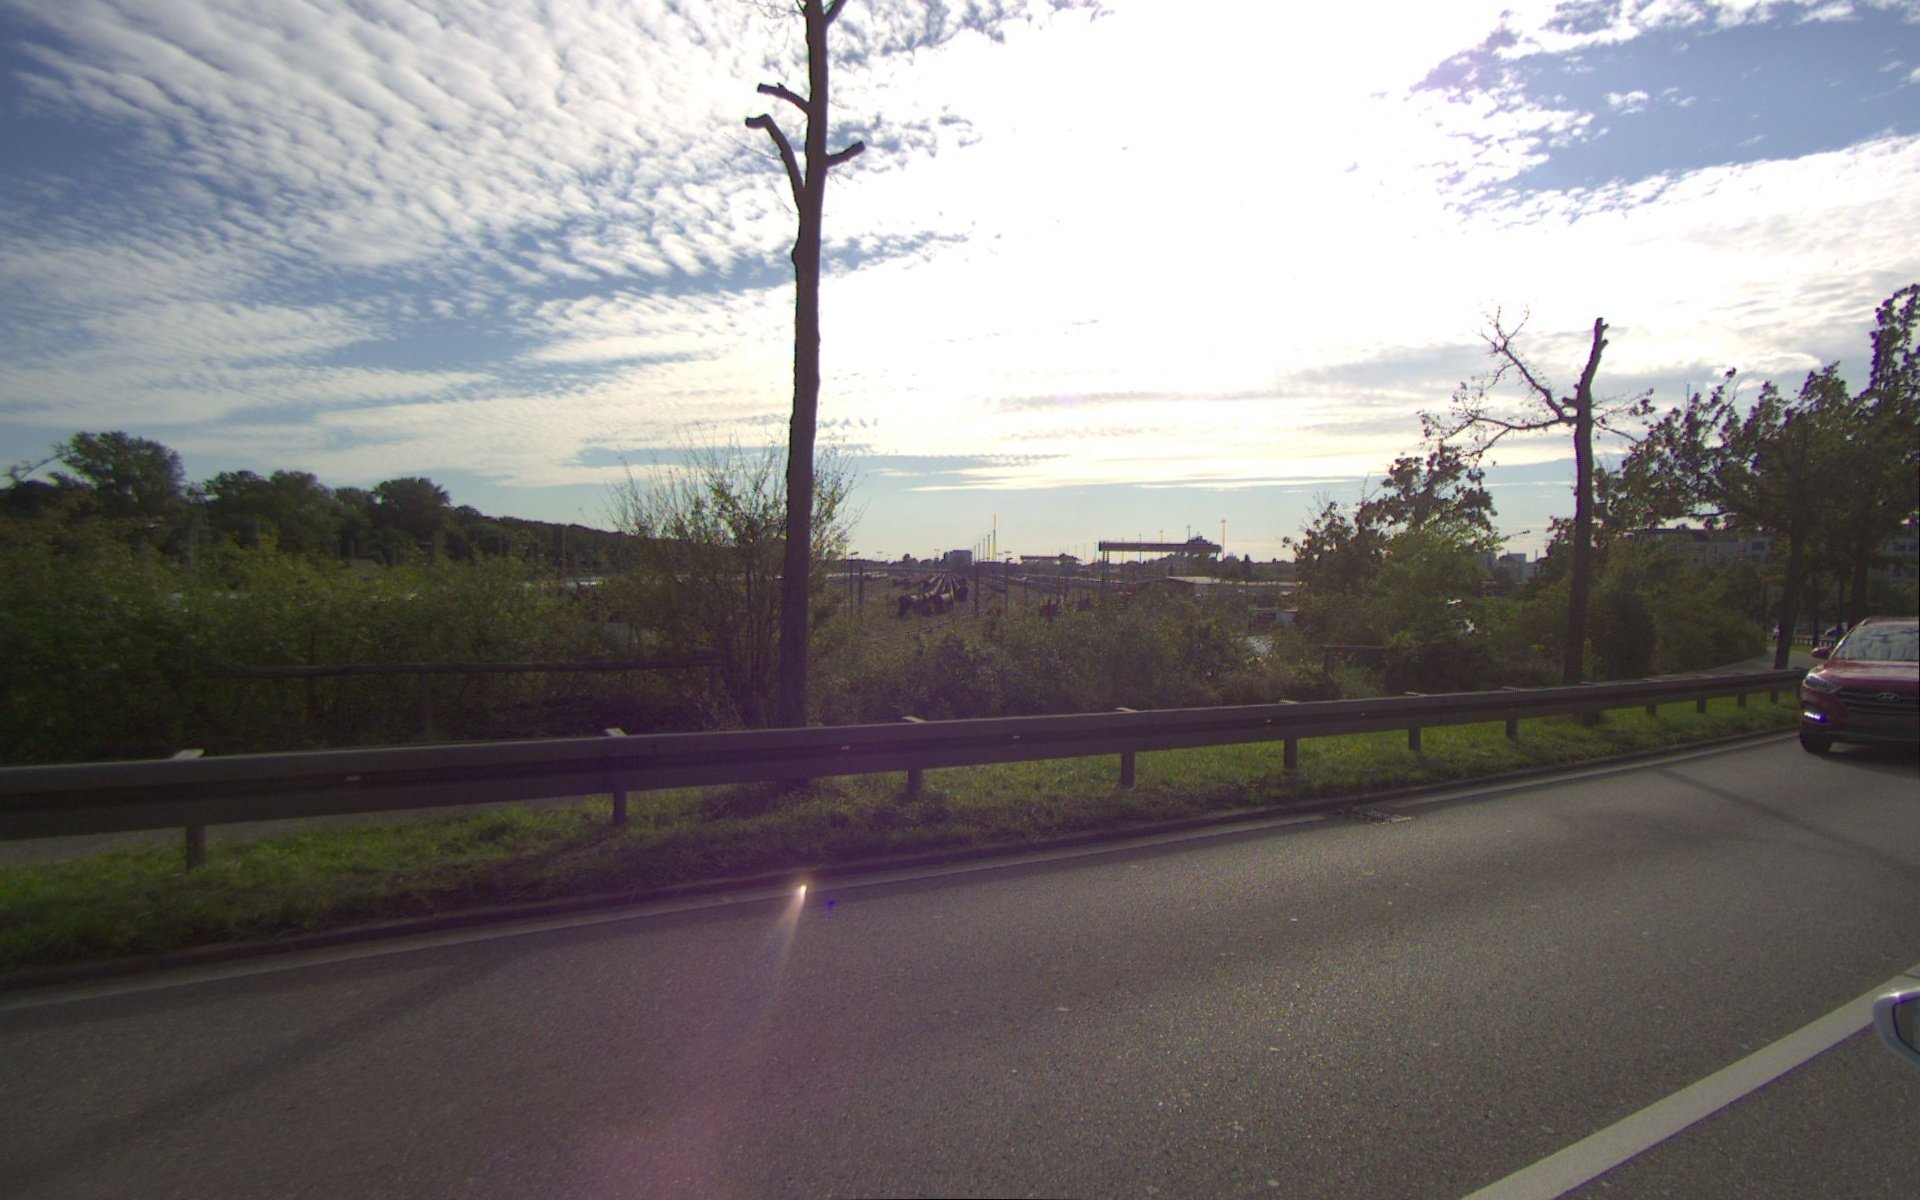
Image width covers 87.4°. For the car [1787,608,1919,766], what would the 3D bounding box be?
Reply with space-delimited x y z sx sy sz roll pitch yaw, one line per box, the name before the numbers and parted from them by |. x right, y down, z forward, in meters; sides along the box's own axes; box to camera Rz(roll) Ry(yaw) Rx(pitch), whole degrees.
car | 11.973 0.988 12.455 4.260 1.696 1.795 1 0 -38
